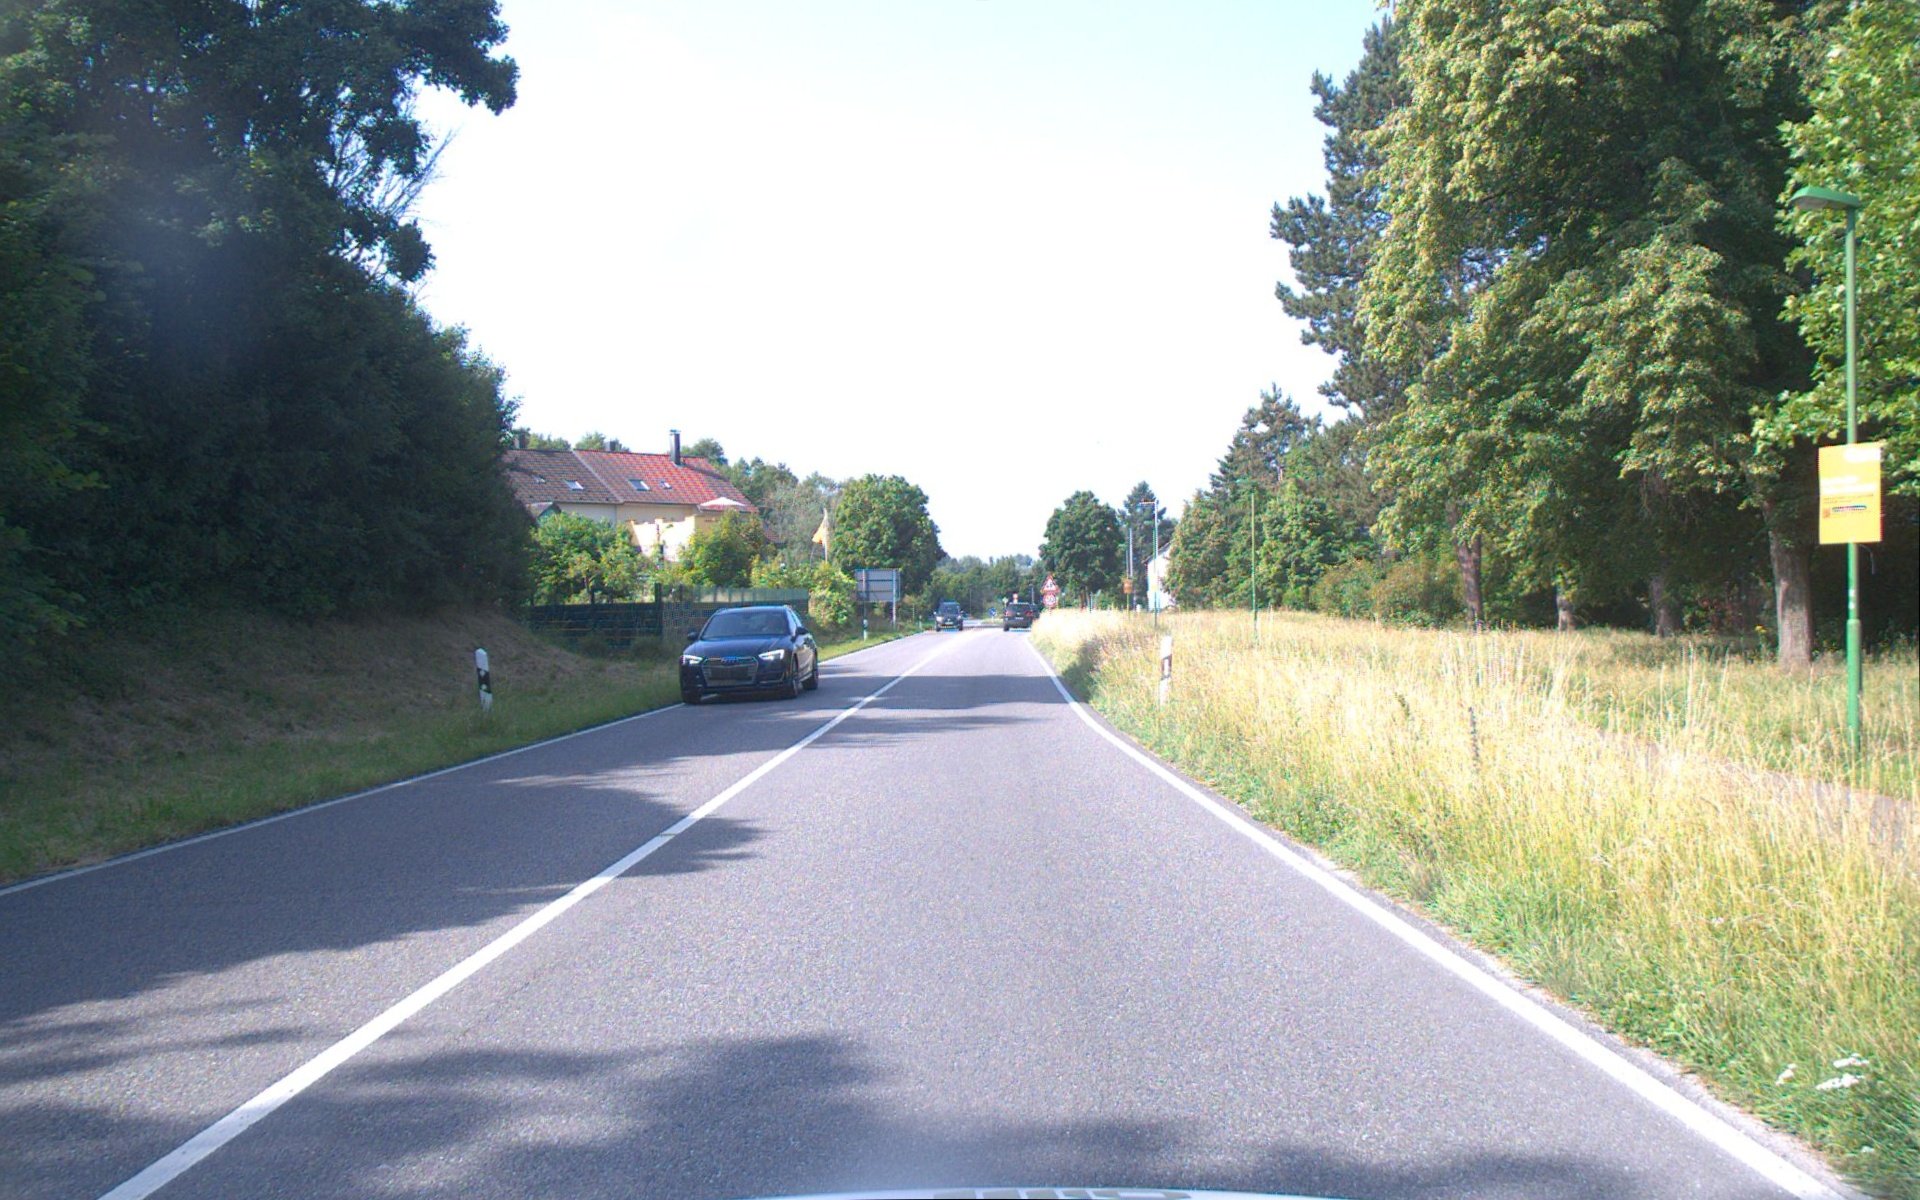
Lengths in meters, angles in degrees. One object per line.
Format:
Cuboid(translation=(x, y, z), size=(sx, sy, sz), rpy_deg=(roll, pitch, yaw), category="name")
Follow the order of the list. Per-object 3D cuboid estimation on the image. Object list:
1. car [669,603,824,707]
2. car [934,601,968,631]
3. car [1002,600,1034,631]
Cuboid(translation=(-3.383, 0.829, 27.061), size=(1.832, 1.448, 4.577), rpy_deg=(-3, 0, 0), category="car")
Cuboid(translation=(-0.586, 1.024, 106.858), size=(1.899, 1.849, 4.243), rpy_deg=(-3, 0, 3), category="car")
Cuboid(translation=(3.530, 0.911, 100.236), size=(1.885, 1.802, 4.001), rpy_deg=(-1, 0, 2), category="car")
